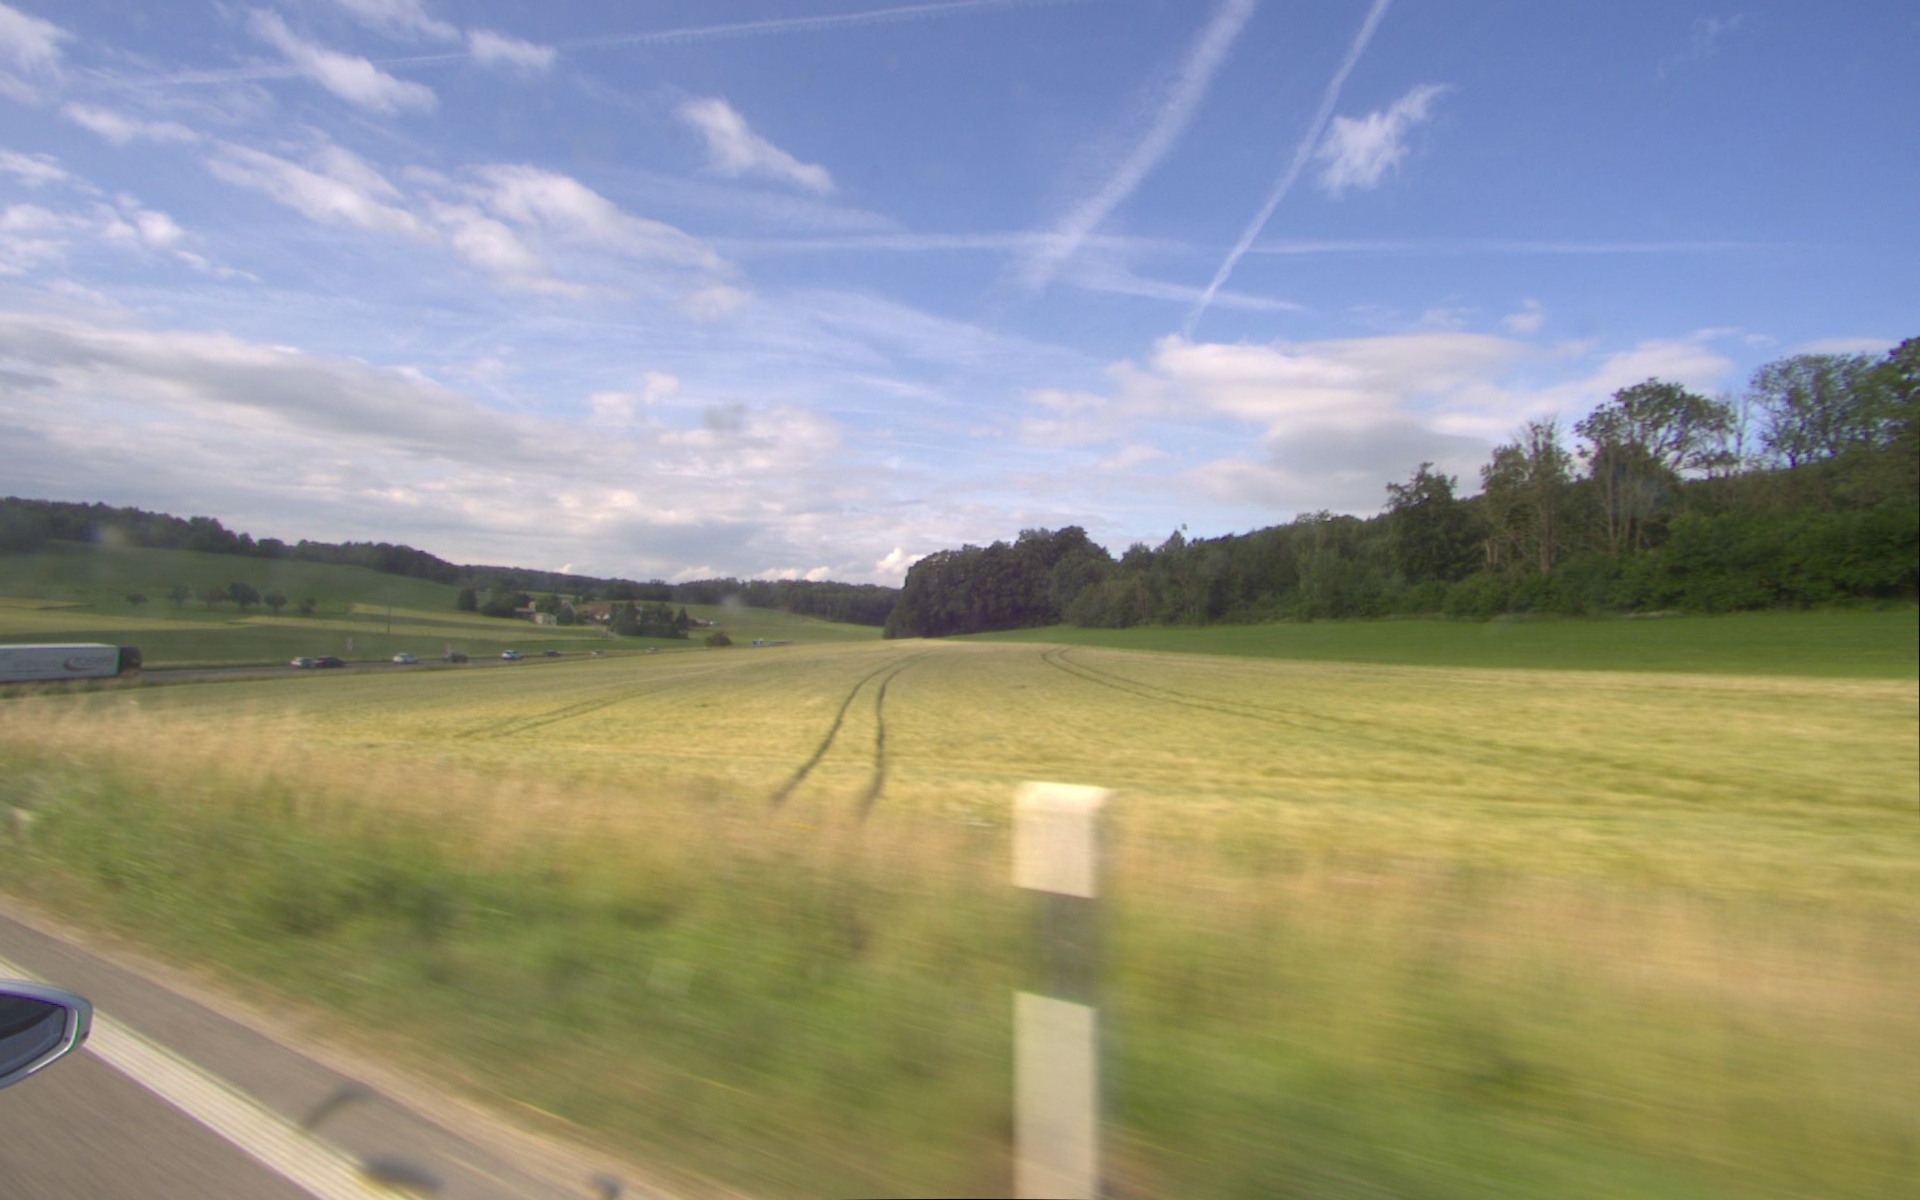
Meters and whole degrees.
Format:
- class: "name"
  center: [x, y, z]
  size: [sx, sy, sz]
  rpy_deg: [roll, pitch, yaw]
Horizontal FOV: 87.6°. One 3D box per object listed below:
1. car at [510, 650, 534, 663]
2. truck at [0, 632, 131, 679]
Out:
- class: "car"
  center: [-74.346, 9.616, 170.090]
  size: [1.961, 2.039, 4.001]
  rpy_deg: [-1, -1, 5]
- class: "truck"
  center: [-86.081, 5.127, 94.086]
  size: [4.000, 4.048, 14.428]
  rpy_deg: [-1, -1, 2]
